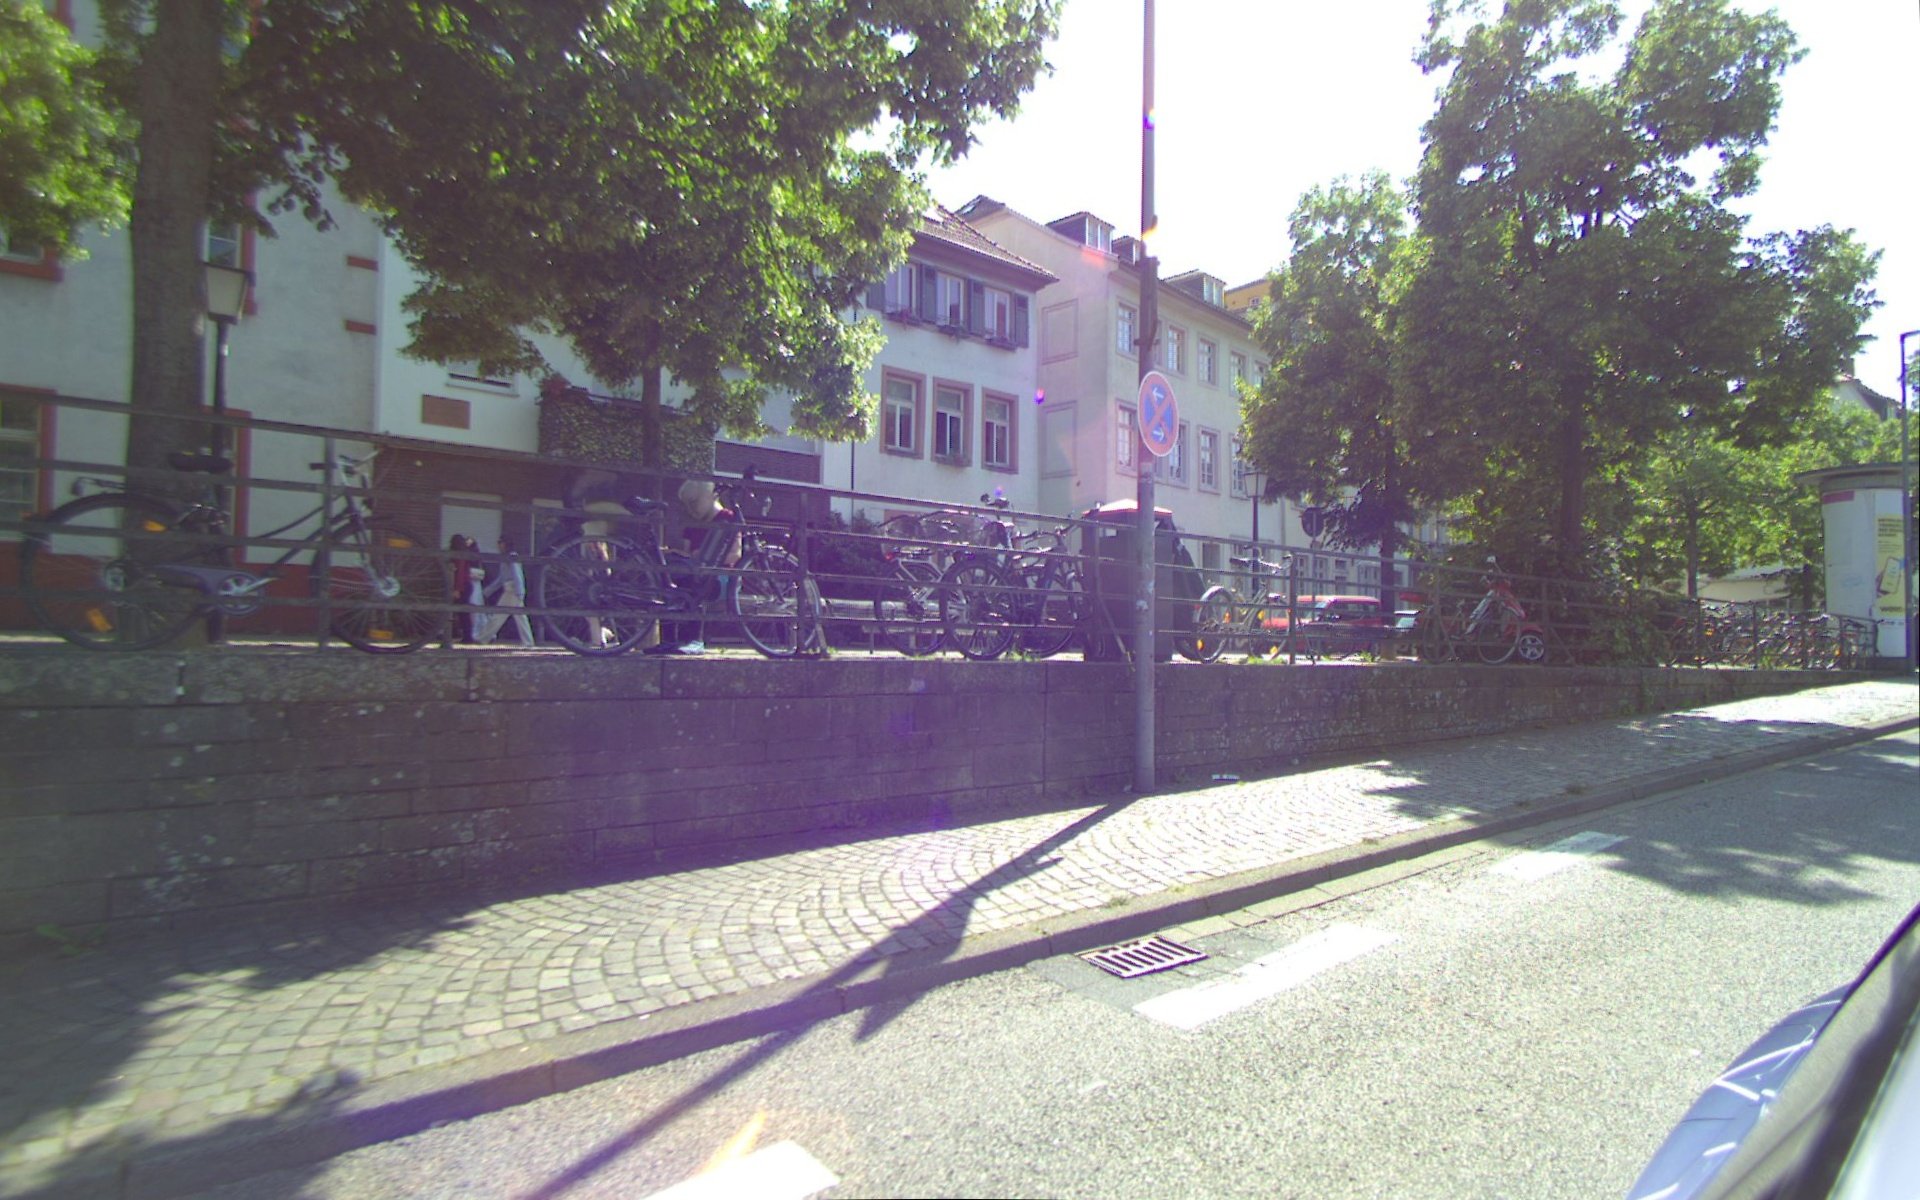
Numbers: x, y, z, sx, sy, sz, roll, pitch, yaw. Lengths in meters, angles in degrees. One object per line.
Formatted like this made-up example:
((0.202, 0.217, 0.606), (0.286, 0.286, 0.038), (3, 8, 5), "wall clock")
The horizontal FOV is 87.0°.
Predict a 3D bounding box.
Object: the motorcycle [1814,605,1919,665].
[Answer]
((20.780, 0.764, 22.702), (0.709, 1.291, 2.542), (0, 0, -14), "motorcycle")

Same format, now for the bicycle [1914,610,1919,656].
((25.285, 0.873, 25.599), (0.344, 1.184, 1.630), (2, 1, -40), "bicycle")

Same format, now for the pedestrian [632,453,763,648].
((-1.850, -0.323, 7.124), (0.658, 1.281, 0.696), (1, -1, -41), "pedestrian")

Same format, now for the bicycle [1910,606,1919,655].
((24.744, 0.790, 25.113), (0.406, 1.232, 1.630), (1, 1, -40), "bicycle")

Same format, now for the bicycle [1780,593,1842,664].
((16.073, 0.520, 19.093), (2.123, 1.277, 0.476), (1, 1, -39), "bicycle")

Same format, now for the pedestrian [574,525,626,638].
((-5.137, -0.250, 14.449), (0.596, 1.565, 0.469), (1, -3, -35), "pedestrian")

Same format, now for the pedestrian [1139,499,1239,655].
((2.207, -0.213, 9.768), (0.684, 1.433, 0.669), (1, -1, -38), "pedestrian")

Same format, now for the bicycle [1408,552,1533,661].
((5.837, 0.098, 11.524), (1.881, 1.127, 0.345), (4, -3, -33), "bicycle")

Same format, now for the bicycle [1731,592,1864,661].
((18.097, 0.539, 21.921), (0.468, 1.385, 2.162), (1, 1, -36), "bicycle")

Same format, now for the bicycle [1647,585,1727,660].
((10.962, 0.349, 15.224), (2.121, 1.062, 0.302), (2, 0, -36), "bicycle")

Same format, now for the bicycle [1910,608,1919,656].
((25.039, 0.847, 25.429), (0.406, 1.232, 1.630), (1, 1, -40), "bicycle")

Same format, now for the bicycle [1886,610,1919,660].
((22.865, 0.844, 23.639), (0.456, 1.147, 1.752), (1, 1, -40), "bicycle")

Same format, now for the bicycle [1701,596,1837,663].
((16.821, 0.583, 21.100), (0.468, 1.277, 2.162), (1, 1, -36), "bicycle")

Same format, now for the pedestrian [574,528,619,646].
((-5.239, -0.176, 14.569), (0.492, 1.657, 0.541), (1, -3, -35), "pedestrian")

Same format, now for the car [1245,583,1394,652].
((10.589, 0.540, 29.681), (4.646, 1.823, 1.837), (3, -2, -36), "car")

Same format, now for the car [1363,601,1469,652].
((14.706, 0.859, 32.604), (3.493, 1.497, 1.588), (3, -2, -36), "car")

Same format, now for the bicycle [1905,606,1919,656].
((24.401, 0.794, 24.883), (0.406, 1.232, 1.630), (1, 1, -40), "bicycle")

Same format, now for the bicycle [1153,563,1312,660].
((2.479, 0.108, 9.071), (1.884, 0.794, 0.350), (1, -1, -39), "bicycle")

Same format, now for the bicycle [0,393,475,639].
((-3.355, -0.327, 4.845), (1.826, 1.017, 0.299), (2, -2, -38), "bicycle")

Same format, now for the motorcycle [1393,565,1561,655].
((6.840, 0.110, 13.474), (0.565, 1.112, 1.916), (1, 0, -44), "motorcycle")

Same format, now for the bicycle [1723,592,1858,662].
((17.694, 0.536, 21.629), (0.468, 1.385, 2.162), (1, 1, -36), "bicycle")

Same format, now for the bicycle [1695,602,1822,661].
((16.446, 0.618, 20.894), (0.332, 1.106, 2.030), (1, 1, -36), "bicycle")

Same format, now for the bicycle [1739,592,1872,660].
((18.527, 0.542, 22.236), (0.573, 1.385, 2.162), (1, 1, -36), "bicycle")

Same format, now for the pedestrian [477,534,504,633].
((-7.253, -0.244, 15.642), (0.319, 1.503, 0.345), (1, -3, -35), "pedestrian")

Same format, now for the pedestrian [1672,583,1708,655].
((18.270, 0.476, 25.326), (0.492, 1.768, 0.541), (1, -3, -35), "pedestrian")

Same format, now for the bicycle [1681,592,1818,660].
((16.103, 0.496, 20.709), (0.413, 1.277, 2.162), (1, 1, -36), "bicycle")

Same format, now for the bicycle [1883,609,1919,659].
((23.103, 0.832, 23.978), (0.456, 1.147, 1.752), (1, 1, -40), "bicycle")

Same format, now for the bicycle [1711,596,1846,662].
((17.236, 0.587, 21.375), (0.468, 1.277, 2.162), (1, 1, -36), "bicycle")

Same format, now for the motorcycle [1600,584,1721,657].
((13.708, 0.387, 19.888), (0.635, 1.330, 2.165), (1, -1, -8), "motorcycle")

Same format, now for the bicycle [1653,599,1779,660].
((14.878, 0.554, 19.972), (0.415, 1.114, 1.955), (1, 1, -36), "bicycle")

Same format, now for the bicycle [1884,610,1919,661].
((22.413, 0.842, 23.210), (0.531, 1.147, 1.751), (1, 1, -43), "bicycle")

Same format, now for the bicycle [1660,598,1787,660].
((15.239, 0.552, 20.257), (0.468, 1.126, 1.968), (1, 1, -36), "bicycle")

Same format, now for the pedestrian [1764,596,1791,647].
((25.119, 0.655, 31.086), (0.654, 1.527, 0.493), (1, -1, -37), "pedestrian")

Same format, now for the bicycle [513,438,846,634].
((-1.573, -0.313, 5.962), (1.905, 1.017, 0.299), (2, -2, -38), "bicycle")

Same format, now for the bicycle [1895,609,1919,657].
((23.696, 0.834, 24.408), (0.406, 1.147, 1.630), (1, 1, -40), "bicycle")

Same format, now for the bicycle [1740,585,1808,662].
((14.301, 0.399, 17.766), (2.123, 1.277, 0.476), (1, 1, -39), "bicycle")

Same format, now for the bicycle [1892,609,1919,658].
((23.500, 0.830, 24.174), (0.456, 1.147, 1.752), (1, 1, -40), "bicycle")

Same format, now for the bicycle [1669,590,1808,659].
((15.703, 0.468, 20.486), (0.468, 1.277, 2.162), (1, 1, -36), "bicycle")
